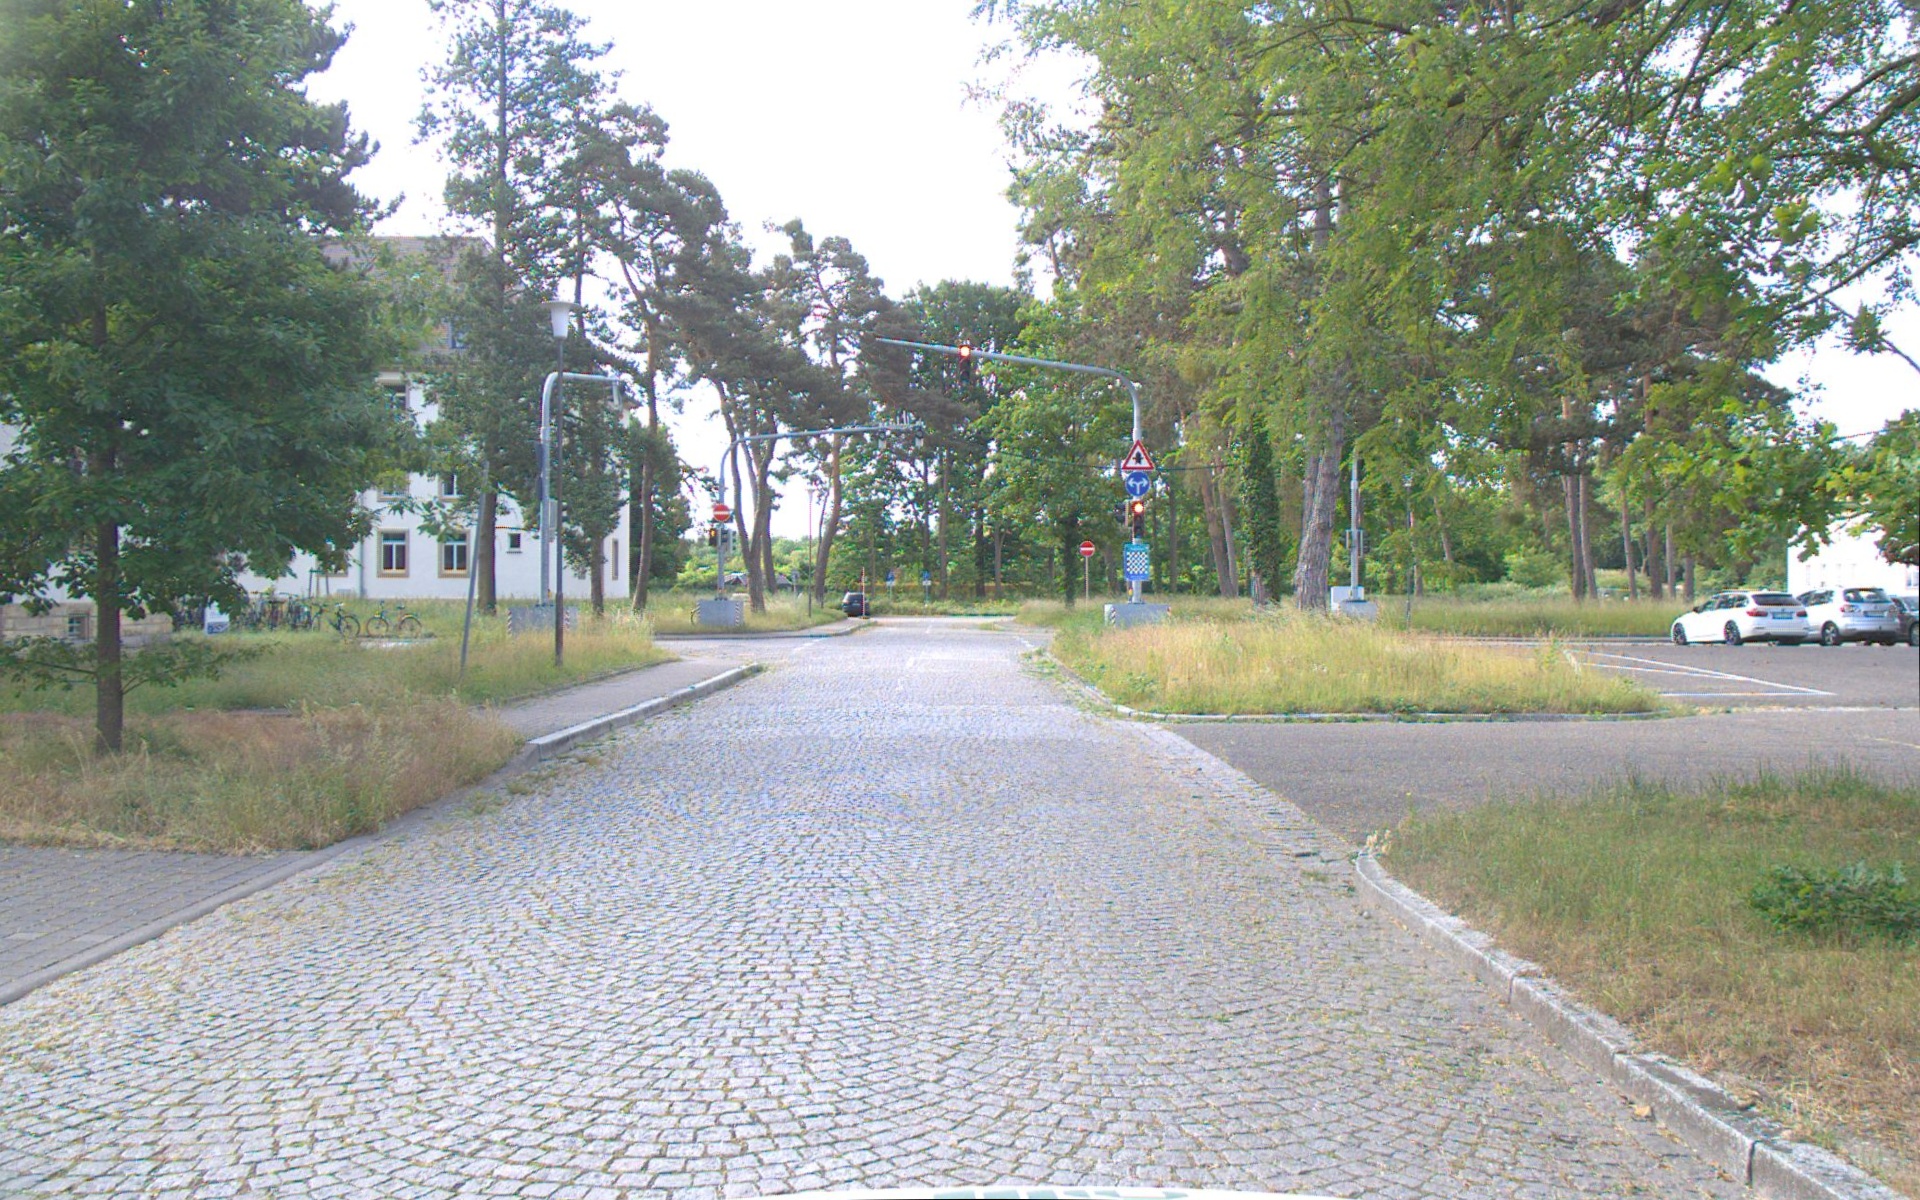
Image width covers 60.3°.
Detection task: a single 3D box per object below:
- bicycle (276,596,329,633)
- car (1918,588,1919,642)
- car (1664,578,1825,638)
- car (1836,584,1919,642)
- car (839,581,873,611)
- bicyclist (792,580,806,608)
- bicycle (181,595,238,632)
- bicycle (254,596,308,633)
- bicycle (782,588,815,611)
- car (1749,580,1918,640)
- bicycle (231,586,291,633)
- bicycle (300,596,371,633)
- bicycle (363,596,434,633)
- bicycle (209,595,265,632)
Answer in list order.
[{"bbox_3d":[-20.146,0.424,50.710,0.721,1.095,2.273,0,0,0],"label":"bicycle"},{"bbox_3d":[28.429,0.411,45.013,1.954,1.550,4.421,1,-1,-4],"label":"car"},{"bbox_3d":[20.743,0.235,43.942,1.954,1.507,4.421,0,-1,-4],"label":"car"},{"bbox_3d":[25.819,0.365,44.495,1.954,1.507,4.421,0,-1,-4],"label":"car"},{"bbox_3d":[-6.695,-0.265,107.041,2.014,1.878,3.999,0,0,-2],"label":"car"},{"bbox_3d":[-9.796,-0.353,100.639,0.733,1.700,0.526,1,0,8],"label":"bicyclist"},{"bbox_3d":[-22.924,0.385,50.557,0.721,1.095,2.273,0,0,0],"label":"bicycle"},{"bbox_3d":[-20.775,0.430,50.620,0.721,1.095,2.273,0,0,0],"label":"bicycle"},{"bbox_3d":[-9.827,-0.019,100.642,1.927,1.343,0.519,1,0,9],"label":"bicycle"},{"bbox_3d":[23.208,0.298,44.161,1.954,1.507,4.421,0,-1,-4],"label":"car"},{"bbox_3d":[-21.509,0.277,50.963,0.721,1.410,2.711,0,0,0],"label":"bicycle"},{"bbox_3d":[-18.671,0.423,49.482,1.818,1.095,0.738,0,0,1],"label":"bicycle"},{"bbox_3d":[-16.821,0.434,49.550,1.818,1.095,0.831,0,0,1],"label":"bicycle"},{"bbox_3d":[-22.297,0.409,51.061,0.721,1.095,2.273,0,0,0],"label":"bicycle"}]
